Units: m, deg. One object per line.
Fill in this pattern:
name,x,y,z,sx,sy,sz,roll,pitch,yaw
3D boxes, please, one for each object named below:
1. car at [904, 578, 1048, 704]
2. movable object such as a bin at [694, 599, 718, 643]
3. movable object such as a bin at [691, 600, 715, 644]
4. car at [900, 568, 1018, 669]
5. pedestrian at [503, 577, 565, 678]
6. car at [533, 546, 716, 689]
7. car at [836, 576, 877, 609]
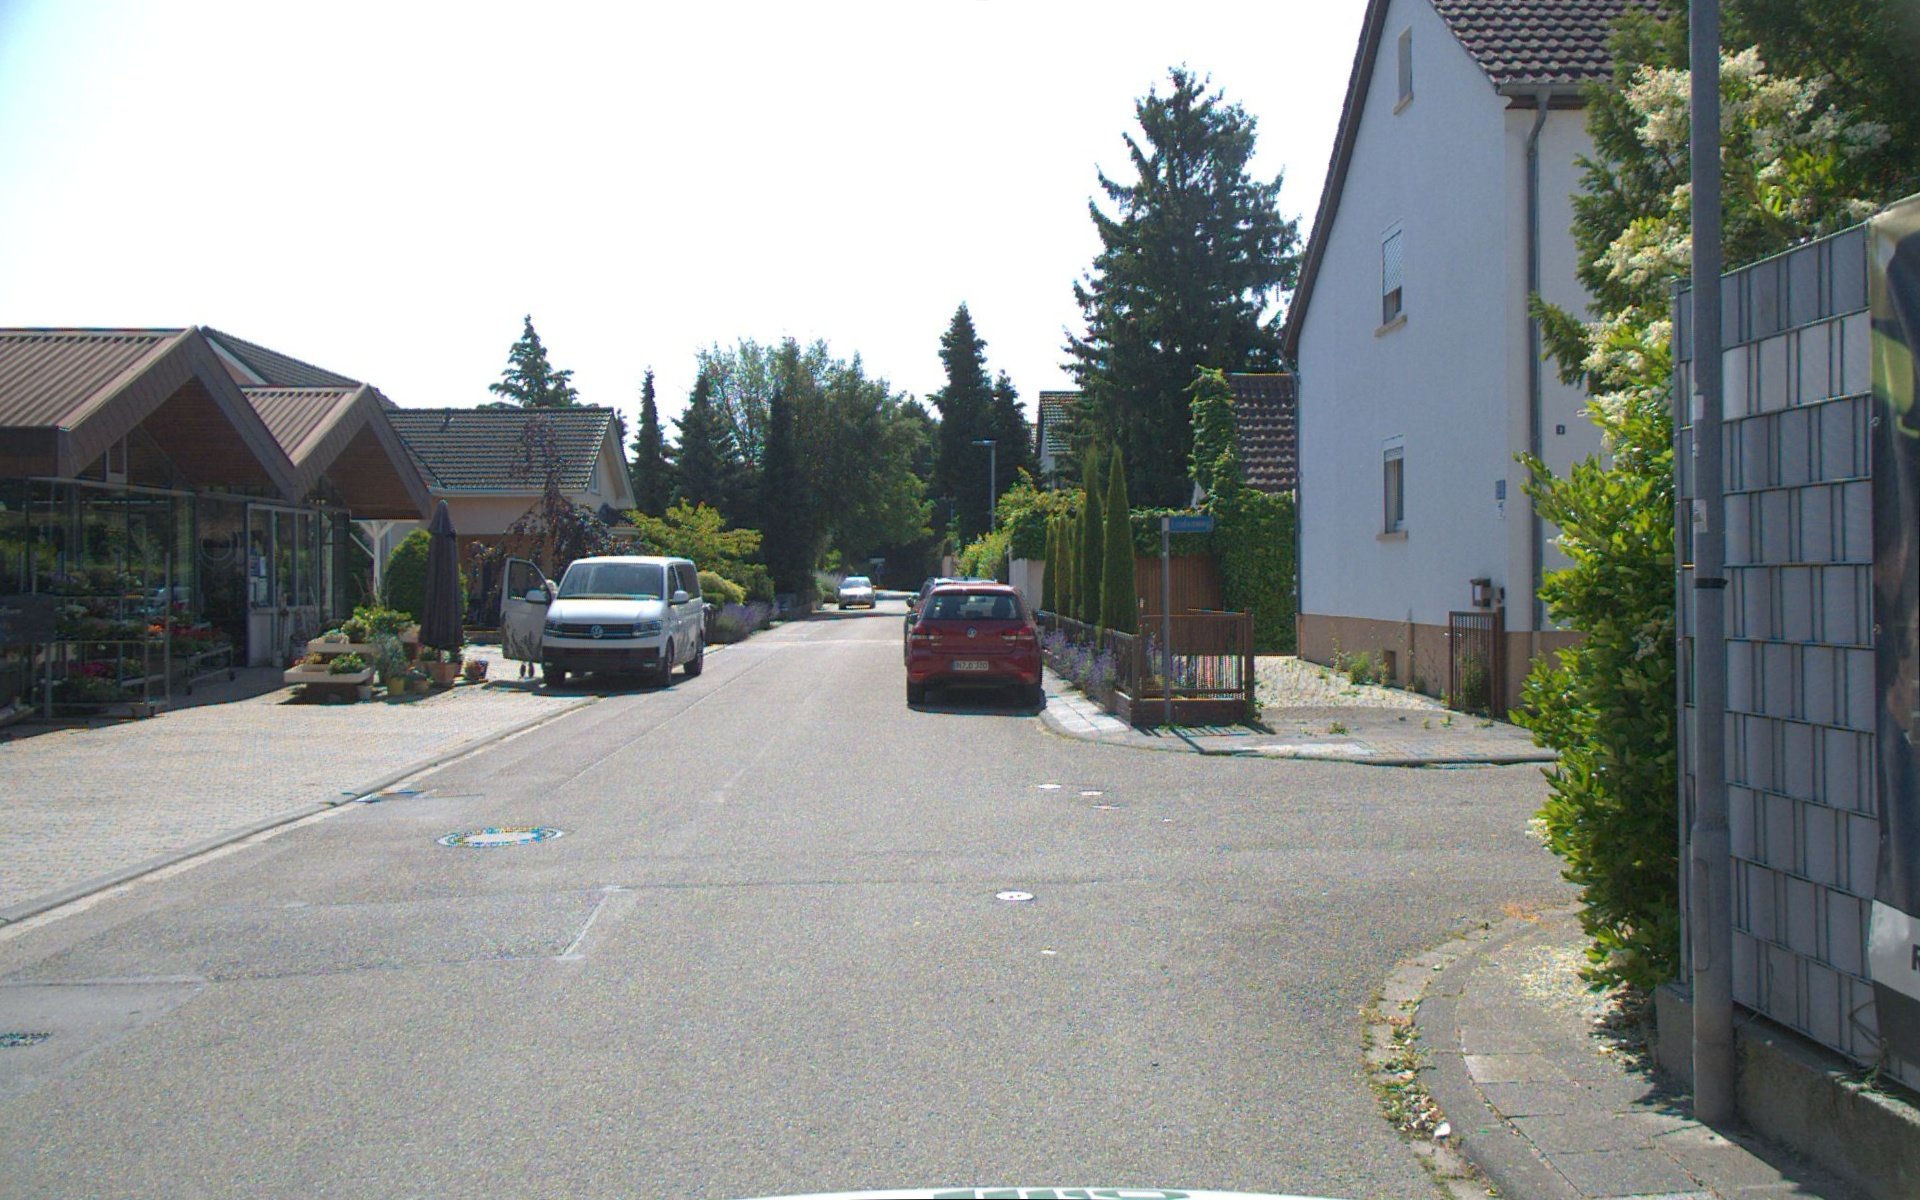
car,0.251,0.481,22.182,1.738,1.505,4.001,1,1,2
movable object such as a bin,-6.136,0.507,39.969,0.484,1.042,0.447,-1,1,-2
movable object such as a bin,-6.129,0.520,39.499,0.484,1.042,0.447,-1,1,-2
car,-0.083,0.286,29.015,1.786,1.643,3.997,0,1,-4
pedestrian,-6.745,0.417,26.192,0.704,1.565,0.640,0,1,32
car,-5.214,0.228,26.362,1.889,2.049,4.896,-1,1,0
car,-4.984,-0.368,80.151,1.717,1.513,4.375,-1,1,-1
